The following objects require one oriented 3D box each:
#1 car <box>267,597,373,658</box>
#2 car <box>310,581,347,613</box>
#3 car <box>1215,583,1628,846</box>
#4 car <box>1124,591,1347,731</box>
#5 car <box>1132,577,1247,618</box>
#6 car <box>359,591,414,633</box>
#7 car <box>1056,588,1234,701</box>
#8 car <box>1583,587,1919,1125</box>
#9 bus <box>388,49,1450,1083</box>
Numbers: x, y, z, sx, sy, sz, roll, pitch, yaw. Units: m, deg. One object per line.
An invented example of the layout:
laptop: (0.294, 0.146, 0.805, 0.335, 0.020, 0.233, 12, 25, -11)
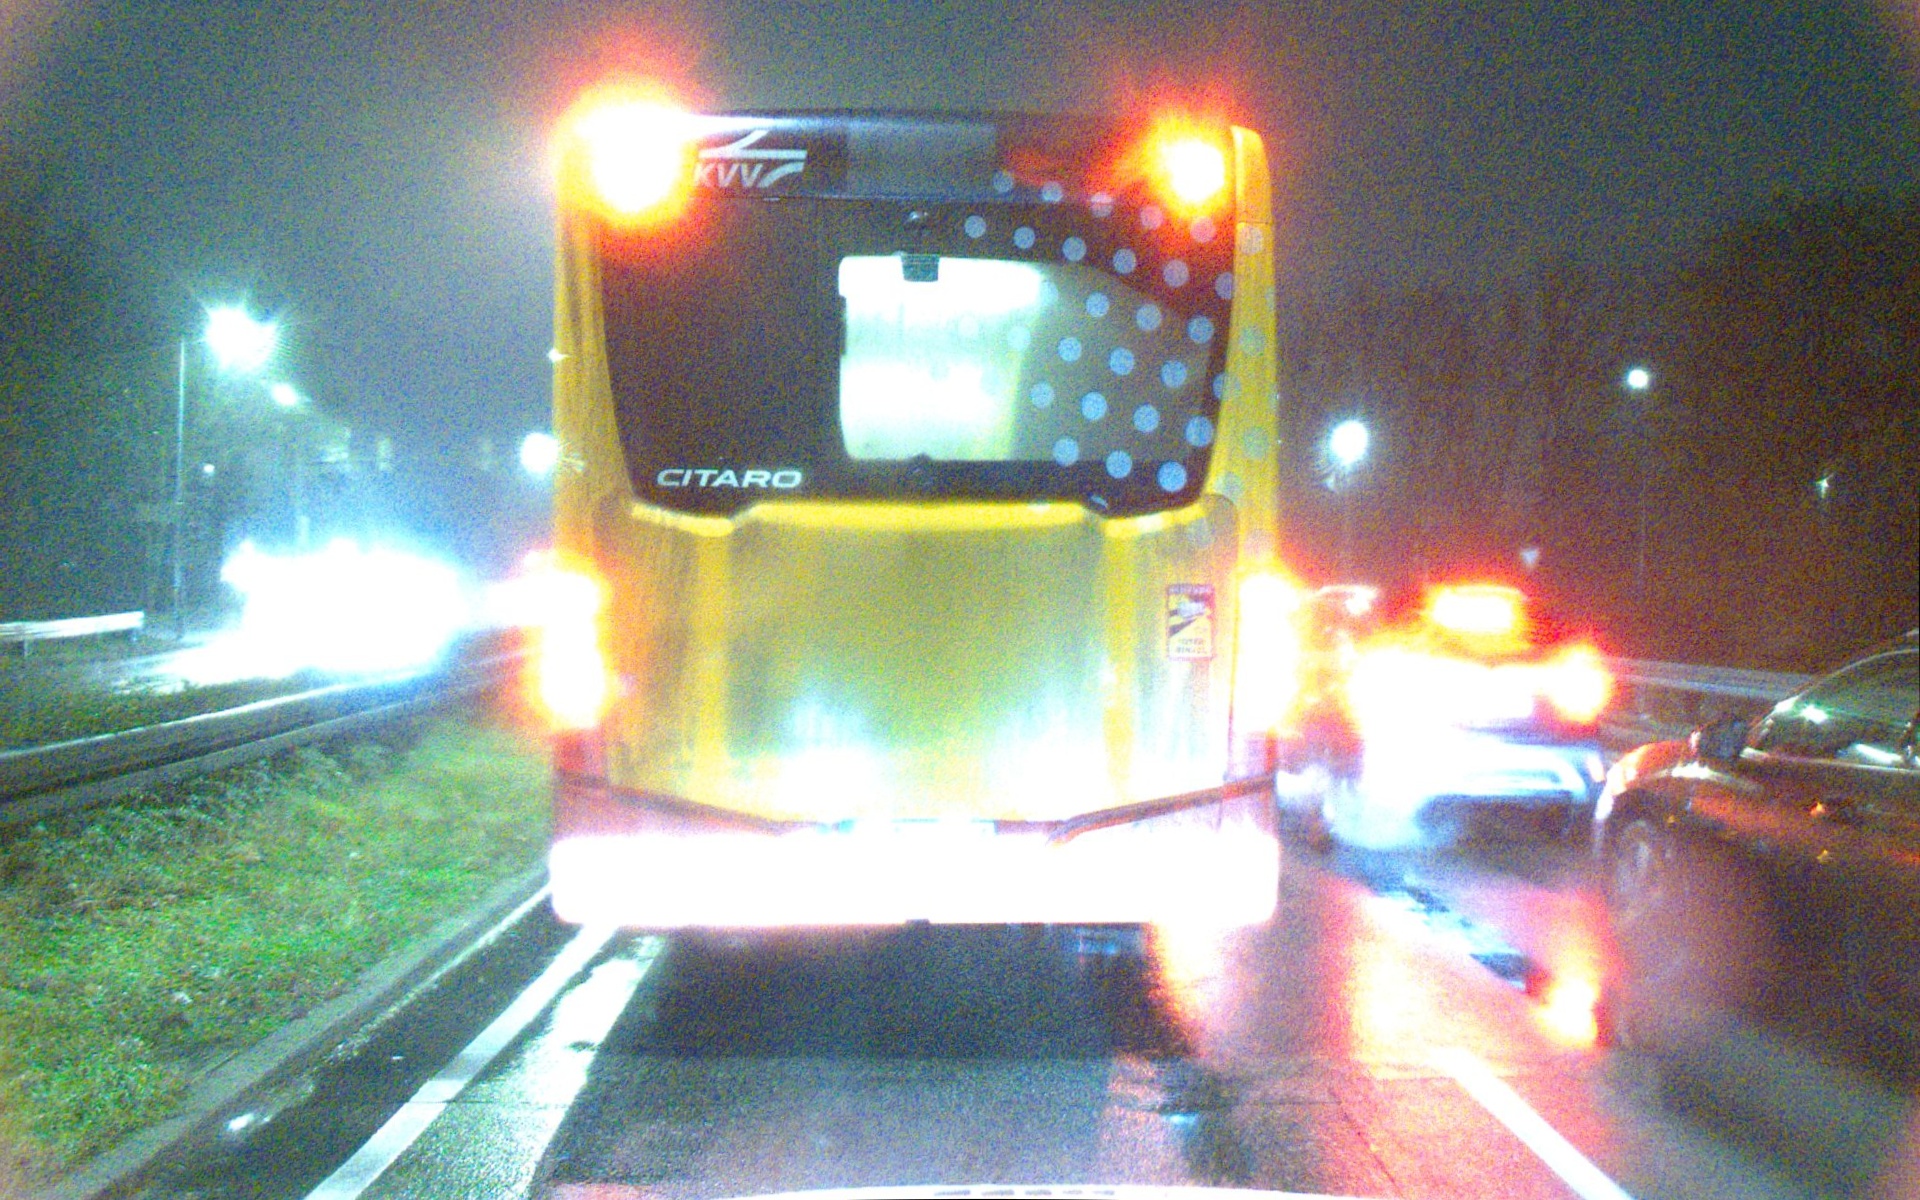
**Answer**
car: (-17.074, 0.707, 44.315, 1.959, 1.534, 4.823, -1, 0, -13)
car: (-33.878, -0.203, 88.709, 1.741, 1.659, 4.222, 0, 1, -22)
car: (3.064, 0.694, 11.836, 1.644, 1.548, 3.957, 1, 0, -3)
car: (2.879, 0.591, 18.063, 1.652, 1.353, 3.959, 0, 0, -2)
car: (9.511, -0.113, 68.663, 4.399, 1.545, 1.854, 1, 2, -9)
car: (-20.670, 0.428, 59.748, 1.685, 1.448, 4.644, -1, 0, -17)
car: (2.568, 0.596, 23.875, 1.953, 1.466, 3.998, 1, 0, -3)
car: (3.573, 0.764, 4.891, 1.639, 1.532, 4.558, 2, 0, -1)
bus: (-0.292, -0.232, 9.812, 3.219, 3.103, 9.540, 0, 2, -2)
